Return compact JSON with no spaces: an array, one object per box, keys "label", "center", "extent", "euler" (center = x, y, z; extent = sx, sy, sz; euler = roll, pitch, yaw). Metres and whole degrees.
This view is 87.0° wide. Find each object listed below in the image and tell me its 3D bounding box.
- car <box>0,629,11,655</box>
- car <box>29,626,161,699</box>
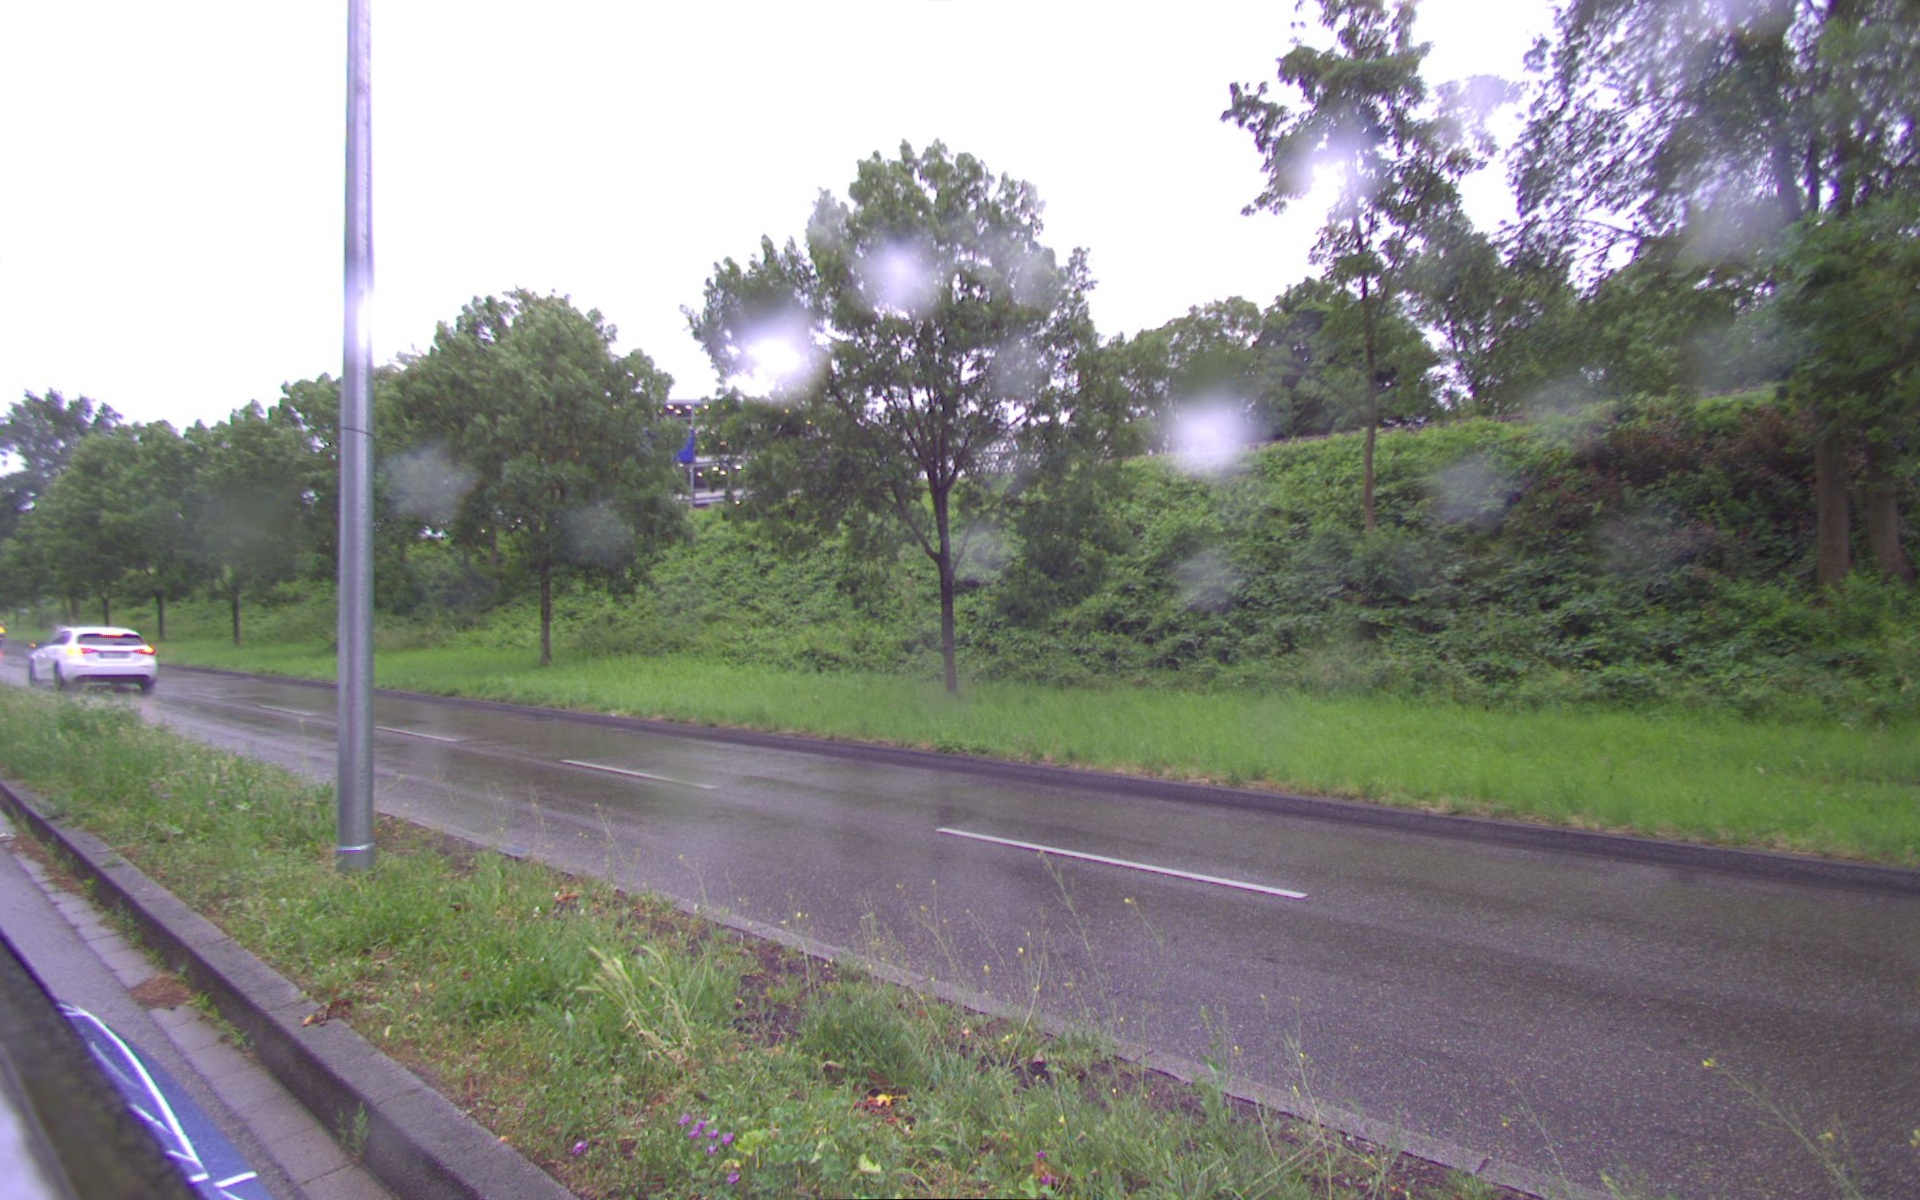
[{"label":"car","center":[-57.363,2.453,59.417],"extent":[4.299,1.531,1.867],"euler":[-2,-4,41]},{"label":"car","center":[-20.496,1.448,23.918],"extent":[4.045,1.531,1.716],"euler":[0,-4,41]}]
